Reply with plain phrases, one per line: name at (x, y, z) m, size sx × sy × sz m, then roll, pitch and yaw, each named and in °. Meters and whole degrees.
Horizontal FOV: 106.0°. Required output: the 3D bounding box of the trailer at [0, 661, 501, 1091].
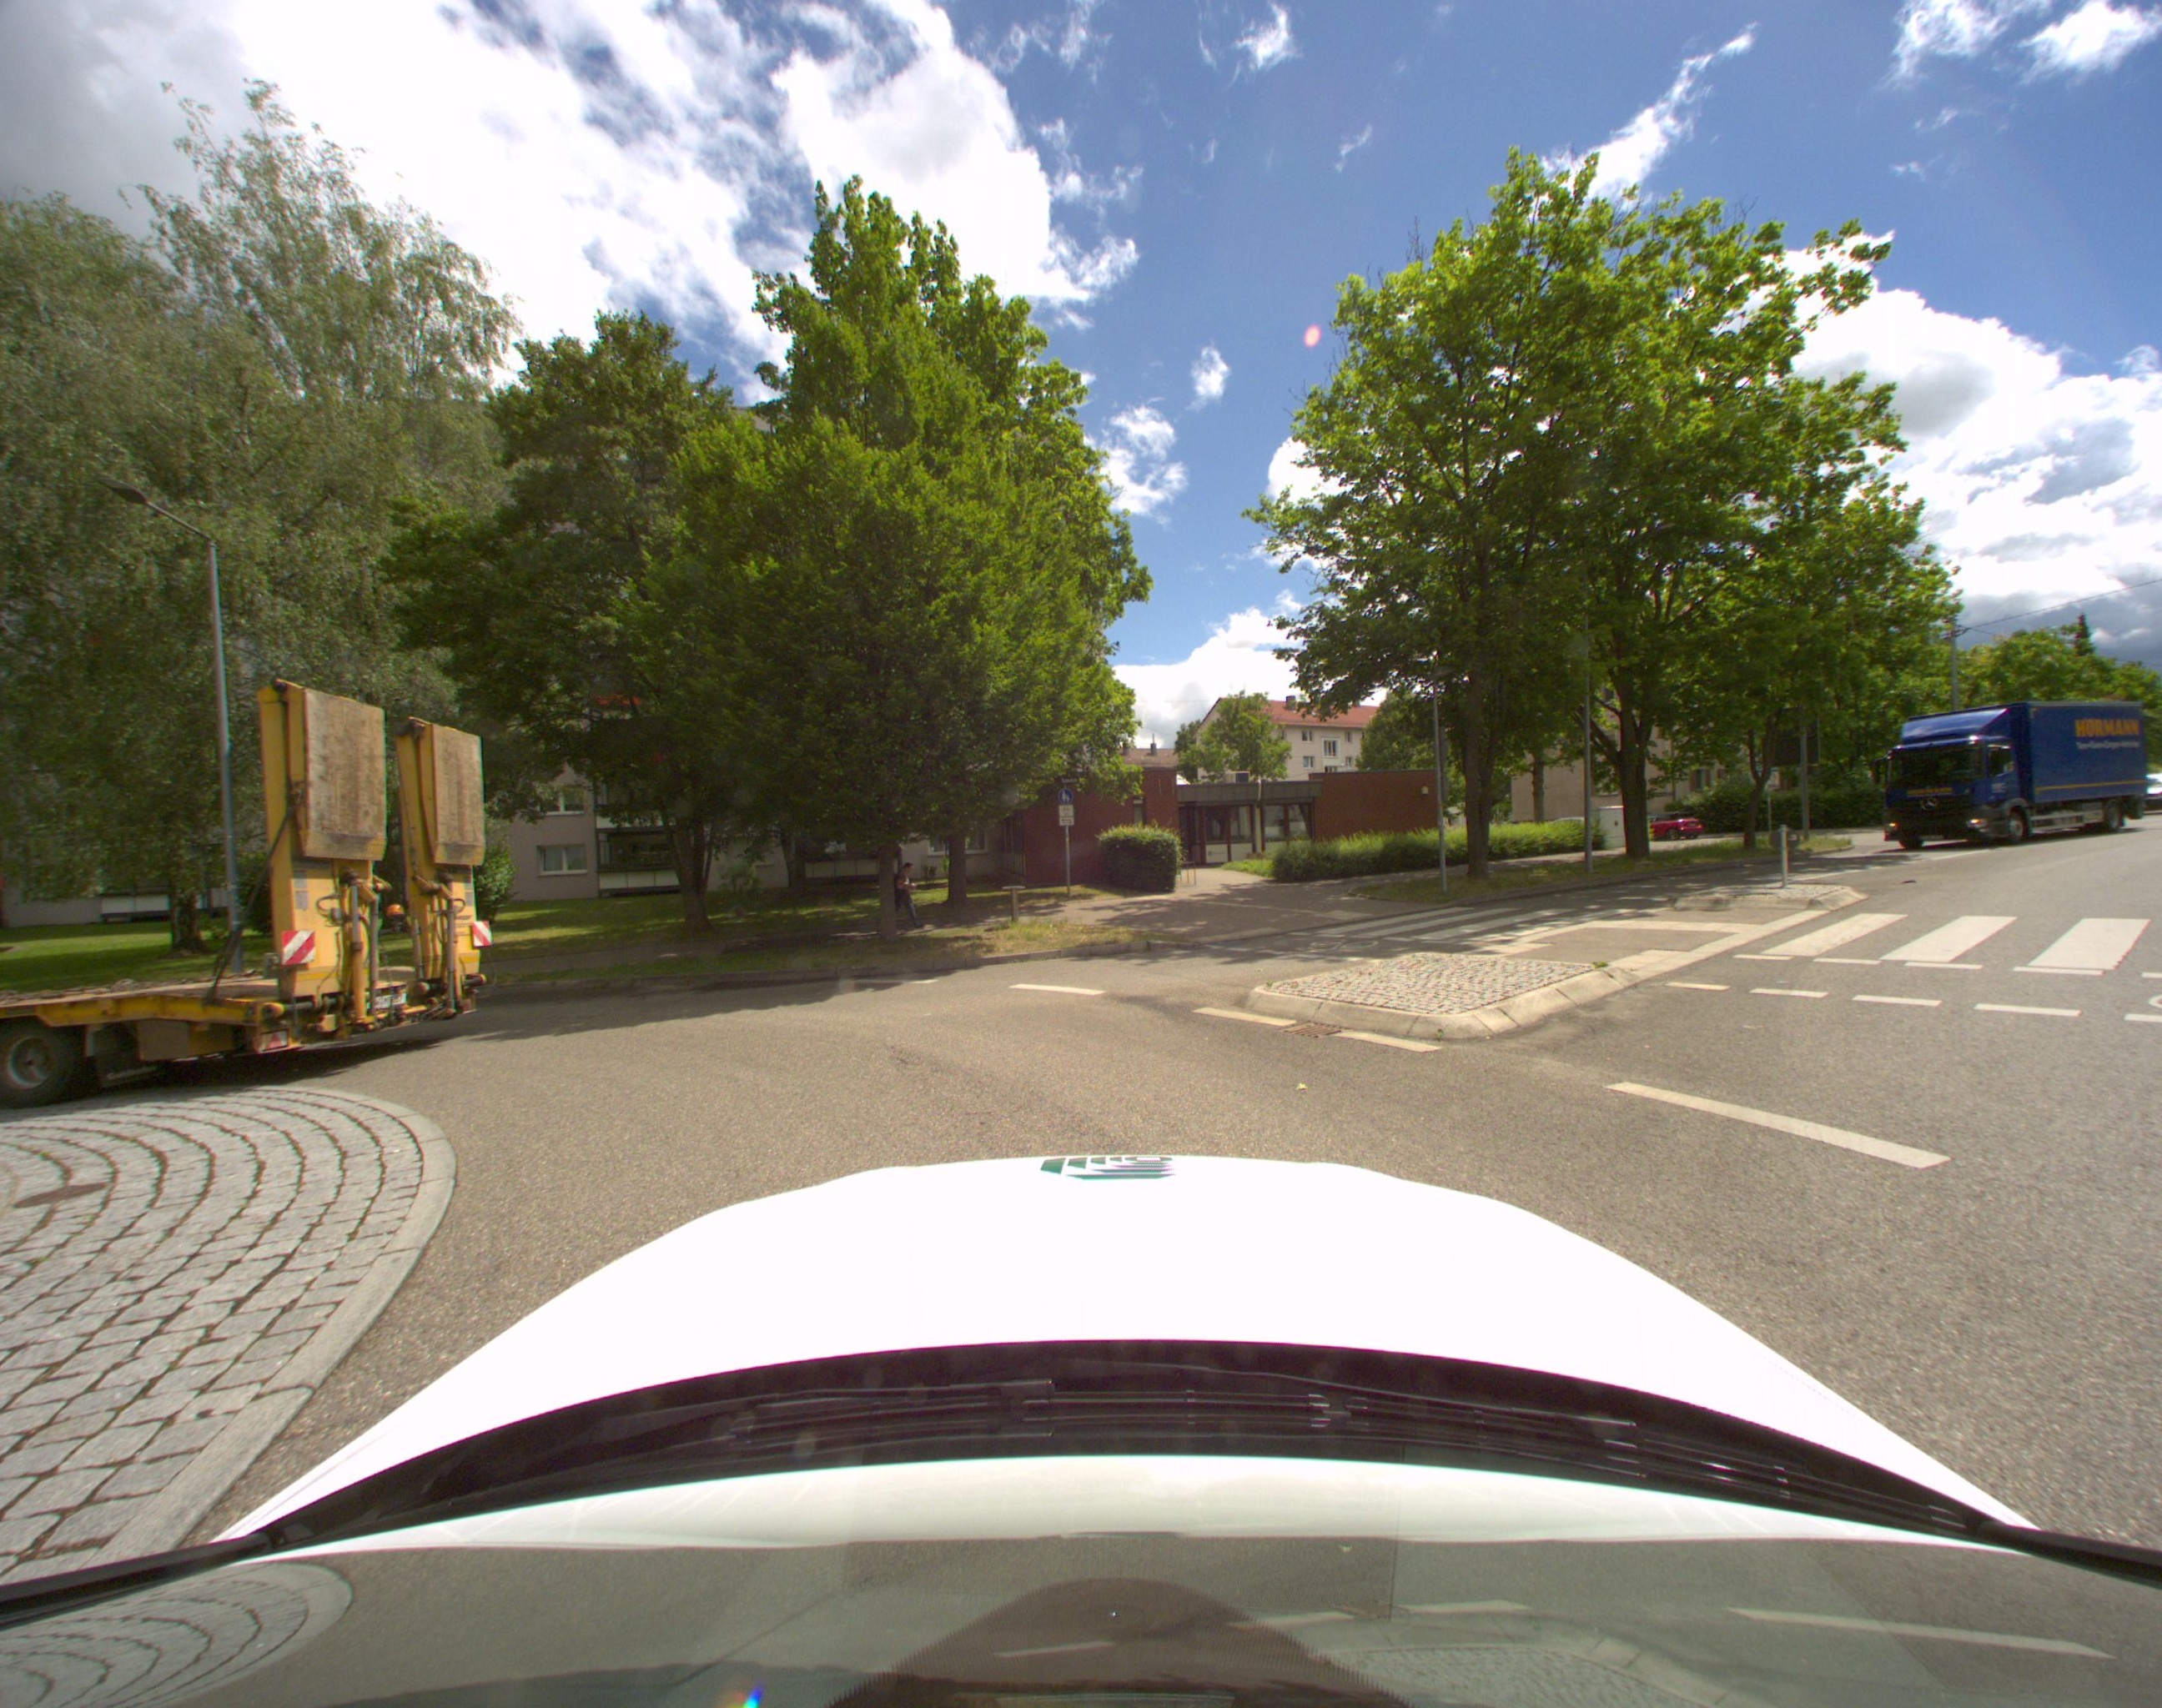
trailer at (-12.119, 0.298, 7.868) m, size 10.772 × 3.372 × 2.872 m, roll -2°, pitch 0°, yaw -1°

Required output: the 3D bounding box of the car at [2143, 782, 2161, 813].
car at (56.062, -2.904, 41.435) m, size 4.012 × 1.553 × 1.981 m, roll -2°, pitch 1°, yaw -30°

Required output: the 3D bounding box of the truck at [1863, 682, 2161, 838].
truck at (28.804, -2.801, 25.080) m, size 9.801 × 4.152 × 2.770 m, roll -3°, pitch 0°, yaw -21°

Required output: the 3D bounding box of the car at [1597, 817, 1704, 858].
car at (29.002, -0.803, 41.591) m, size 2.022 × 1.941 × 3.967 m, roll -2°, pitch 1°, yaw -25°

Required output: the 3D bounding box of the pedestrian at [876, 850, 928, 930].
pedestrian at (-3.819, 0.747, 17.394) m, size 0.841 × 1.579 × 0.716 m, roll -6°, pitch 1°, yaw -20°

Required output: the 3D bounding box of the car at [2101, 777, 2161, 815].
car at (47.985, -2.605, 36.696) m, size 4.012 × 1.553 × 1.981 m, roll -2°, pitch 1°, yaw -30°
